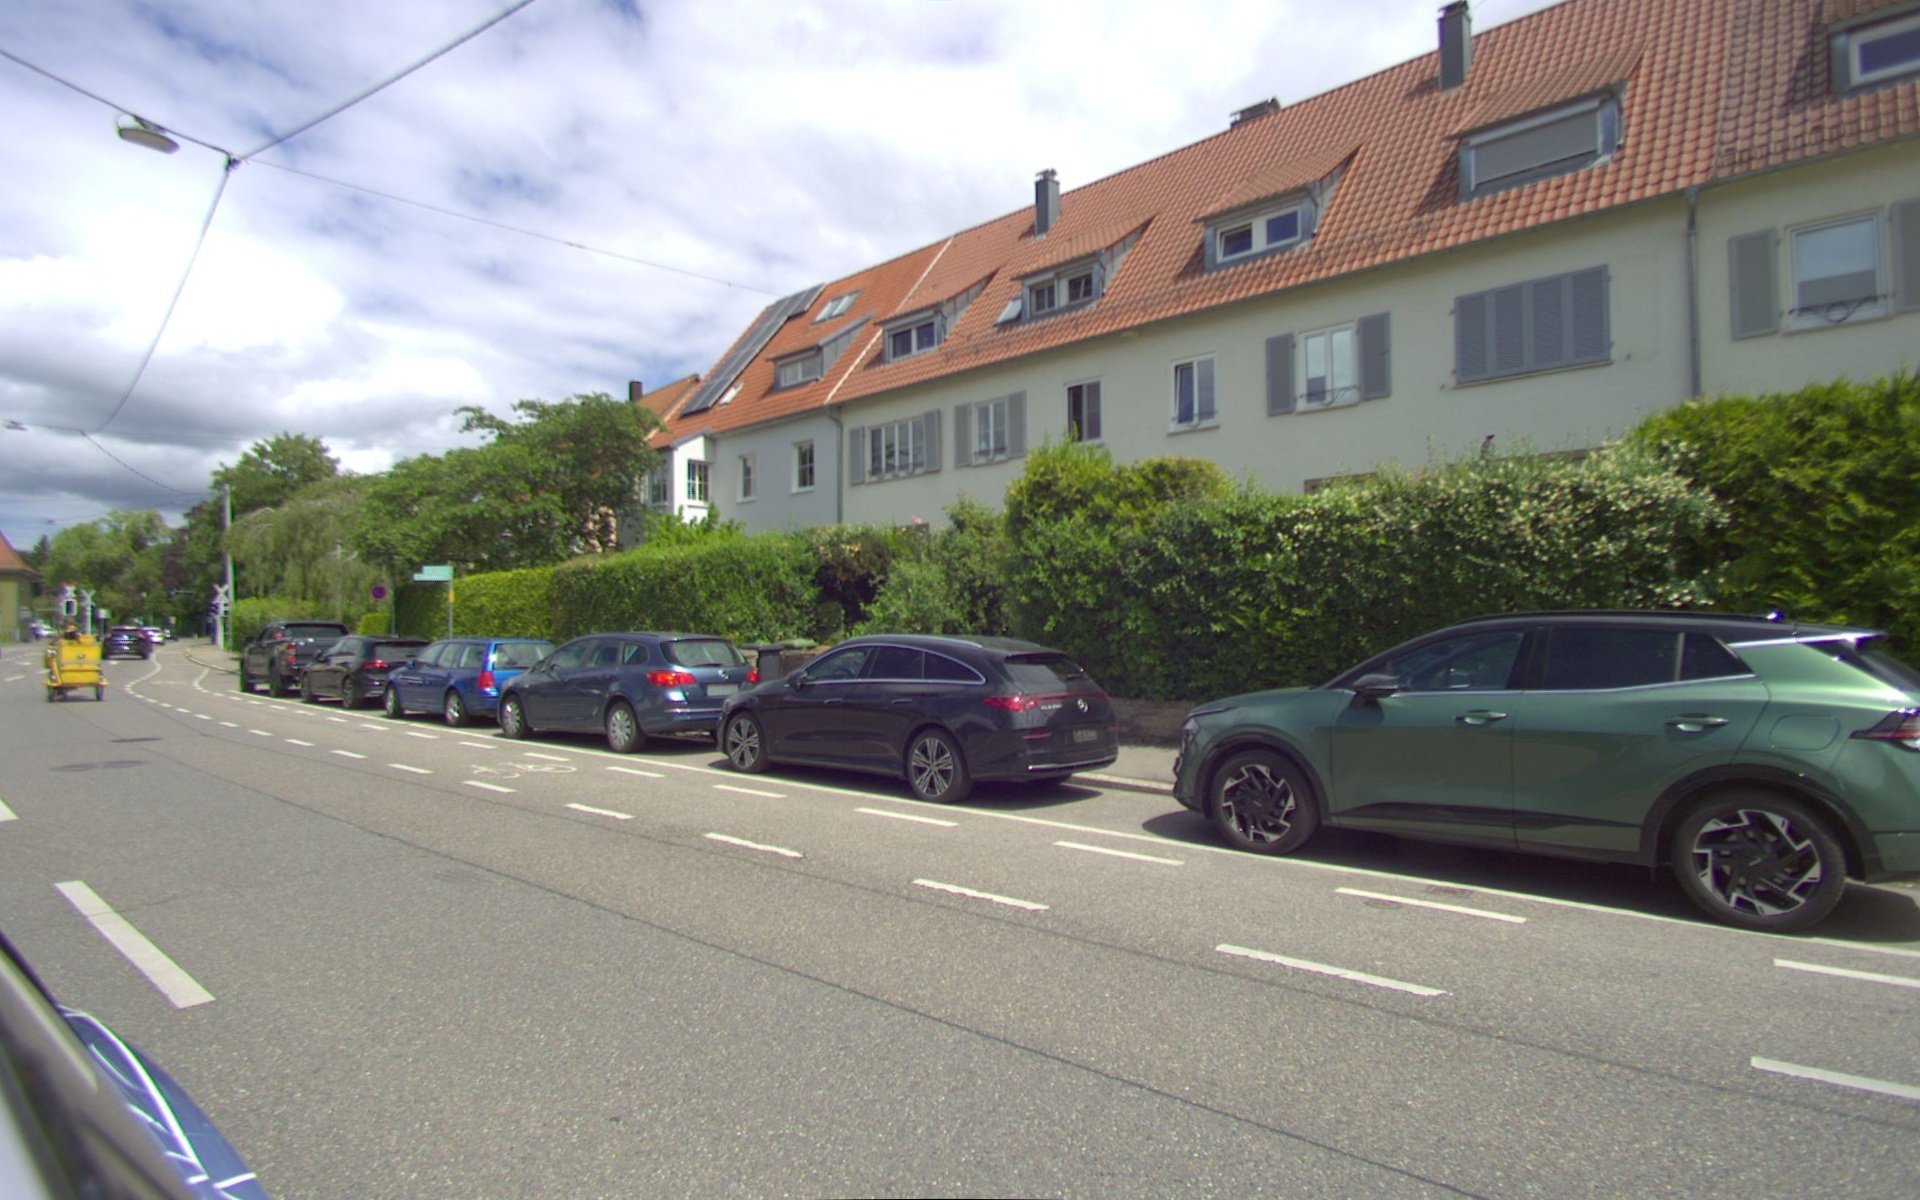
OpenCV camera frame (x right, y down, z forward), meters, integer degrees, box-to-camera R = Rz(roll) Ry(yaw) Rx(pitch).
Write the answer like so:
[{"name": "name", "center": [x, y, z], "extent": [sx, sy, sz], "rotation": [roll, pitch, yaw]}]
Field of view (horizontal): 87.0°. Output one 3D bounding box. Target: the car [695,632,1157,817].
[{"name": "car", "center": [-0.549, 1.054, 10.309], "extent": [4.689, 1.419, 1.972], "rotation": [-2, -2, 43]}]

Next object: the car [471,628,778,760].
[{"name": "car", "center": [-4.655, 1.140, 13.731], "extent": [4.560, 1.503, 1.760], "rotation": [-1, -2, 38]}]

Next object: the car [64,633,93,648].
[{"name": "car", "center": [-94.581, 4.313, 108.626], "extent": [1.967, 1.438, 4.009], "rotation": [-2, 0, -37]}]

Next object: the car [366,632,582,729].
[{"name": "car", "center": [-8.418, 1.284, 17.357], "extent": [4.438, 1.428, 1.759], "rotation": [-1, -2, 41]}]

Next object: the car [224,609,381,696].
[{"name": "car", "center": [-16.219, 1.245, 24.835], "extent": [5.404, 1.909, 1.971], "rotation": [-2, -4, 43]}]

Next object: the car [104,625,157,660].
[{"name": "car", "center": [-42.378, 2.162, 51.724], "extent": [1.892, 1.661, 4.301], "rotation": [5, -5, -39]}]

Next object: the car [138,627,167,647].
[{"name": "car", "center": [-68.256, 3.097, 85.543], "extent": [1.824, 1.586, 4.166], "rotation": [0, -1, -39]}]

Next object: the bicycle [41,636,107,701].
[{"name": "bicycle", "center": [-19.182, 1.444, 21.891], "extent": [2.662, 1.311, 0.854], "rotation": [-2, -2, 44]}]

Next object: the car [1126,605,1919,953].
[{"name": "car", "center": [3.616, 0.863, 6.641], "extent": [4.689, 1.576, 1.972], "rotation": [-2, -2, 43]}]

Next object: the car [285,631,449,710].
[{"name": "car", "center": [-12.316, 1.370, 20.908], "extent": [4.339, 1.428, 1.758], "rotation": [-2, -2, 43]}]

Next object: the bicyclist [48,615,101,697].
[{"name": "bicyclist", "center": [-19.199, 1.191, 21.942], "extent": [0.783, 1.727, 1.209], "rotation": [1, -2, -45]}]
